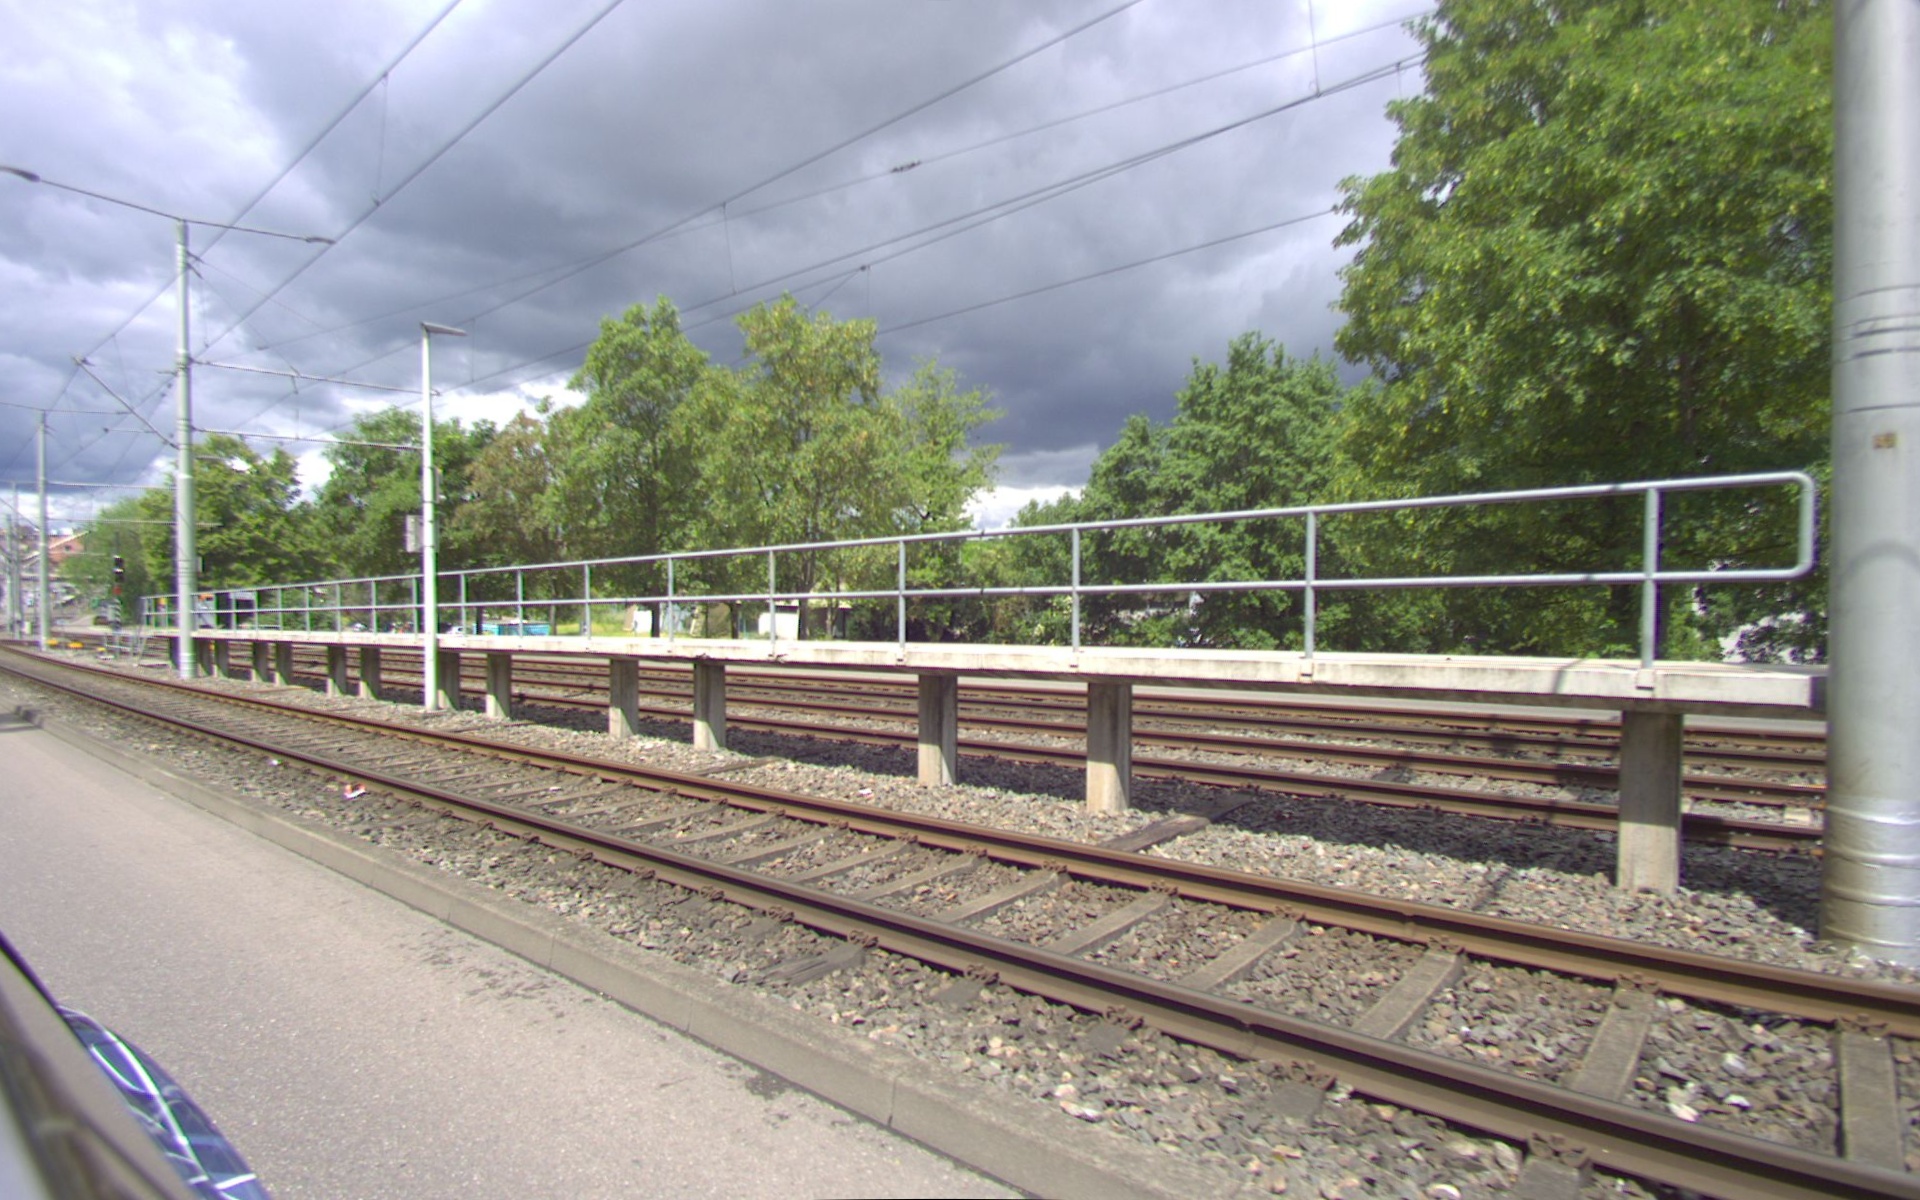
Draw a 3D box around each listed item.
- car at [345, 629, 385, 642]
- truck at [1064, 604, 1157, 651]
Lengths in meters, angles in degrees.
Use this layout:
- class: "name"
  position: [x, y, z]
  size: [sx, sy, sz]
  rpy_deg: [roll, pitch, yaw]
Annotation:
- class: "car"
  position: [-70.499, 4.195, 119.944]
  size: [1.628, 1.546, 3.815]
  rpy_deg: [-2, -3, 44]
- class: "truck"
  position: [9.754, 1.799, 65.138]
  size: [2.680, 2.877, 6.529]
  rpy_deg: [-2, -3, 44]
